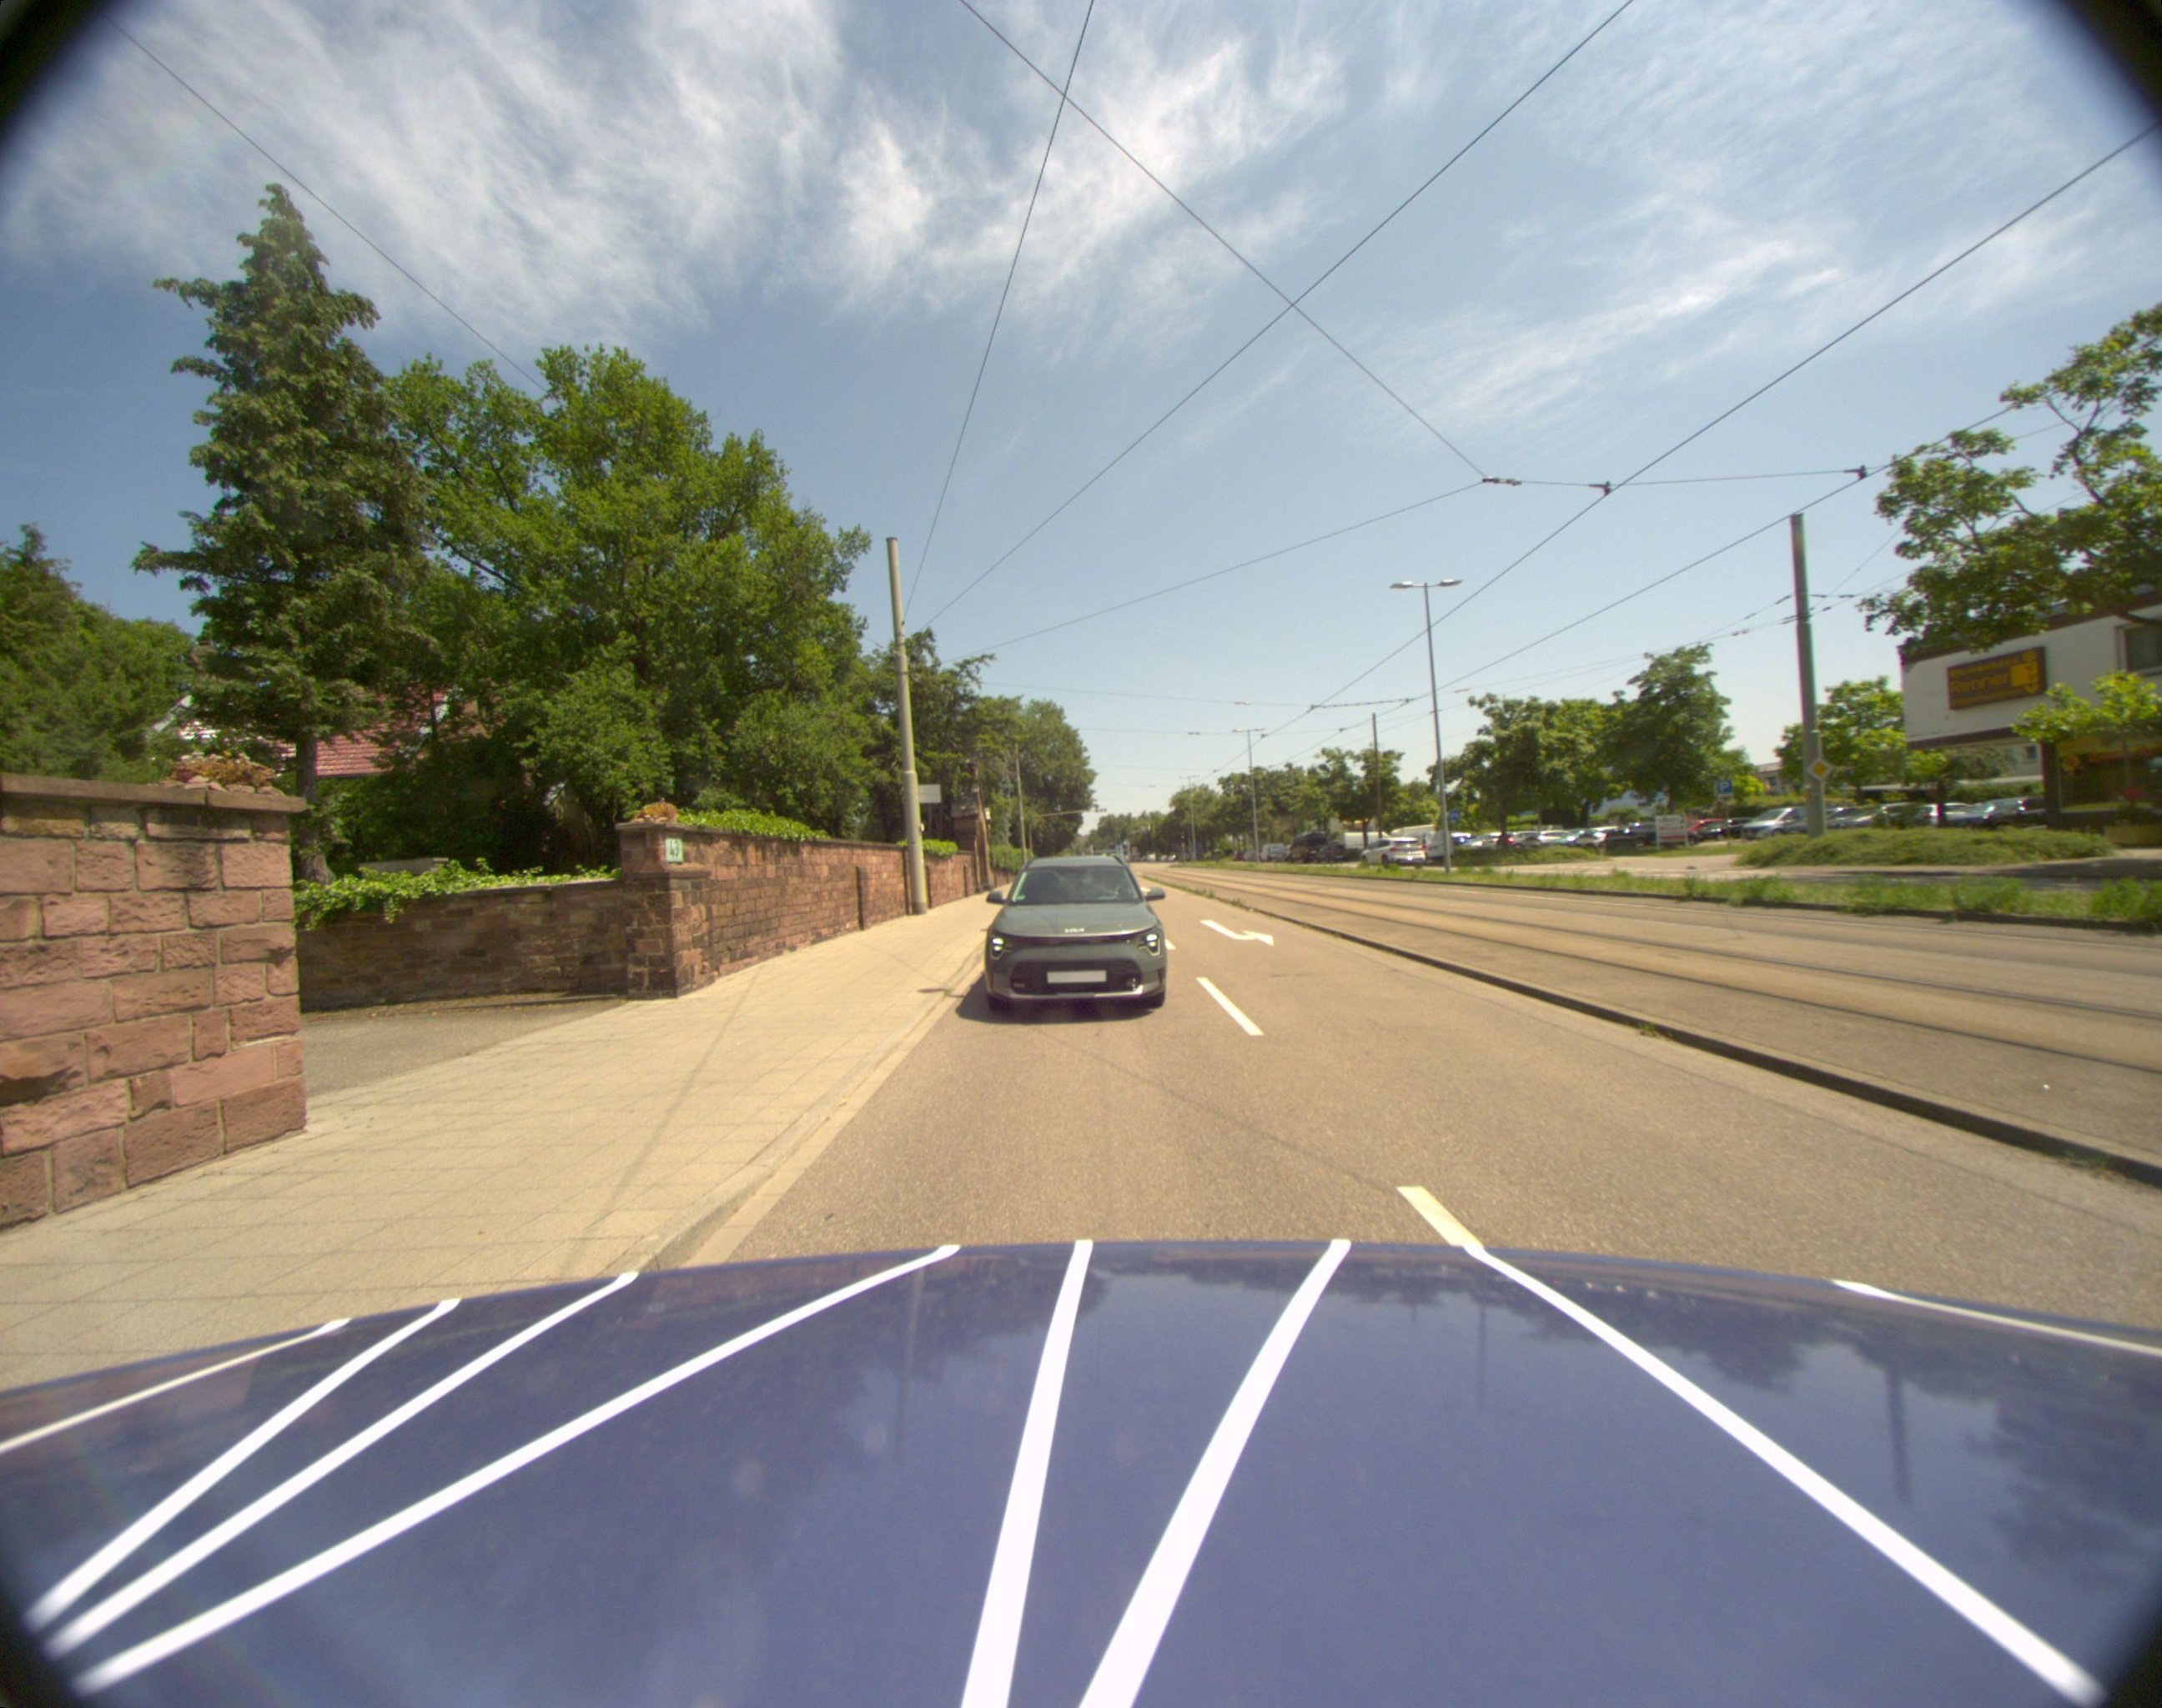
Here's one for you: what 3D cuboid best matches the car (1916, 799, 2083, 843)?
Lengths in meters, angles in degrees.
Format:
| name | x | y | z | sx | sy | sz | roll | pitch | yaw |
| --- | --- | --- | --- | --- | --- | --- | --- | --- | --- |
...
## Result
| name | x | y | z | sx | sy | sz | roll | pitch | yaw |
| --- | --- | --- | --- | --- | --- | --- | --- | --- | --- |
| car | 34.063 | -1.215 | 28.255 | 3.996 | 1.289 | 1.682 | -4 | 0 | 2 |

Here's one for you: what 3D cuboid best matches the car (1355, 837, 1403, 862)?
| name | x | y | z | sx | sy | sz | roll | pitch | yaw |
| --- | --- | --- | --- | --- | --- | --- | --- | --- | --- |
| car | 20.313 | -0.314 | 51.956 | 1.654 | 1.494 | 4.126 | -6 | 0 | 1 |

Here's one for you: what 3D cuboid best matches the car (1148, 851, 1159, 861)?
| name | x | y | z | sx | sy | sz | roll | pitch | yaw |
| --- | --- | --- | --- | --- | --- | --- | --- | --- | --- |
| car | 16.393 | 0.448 | 172.757 | 1.821 | 1.979 | 4.212 | -2 | 1 | -3 |

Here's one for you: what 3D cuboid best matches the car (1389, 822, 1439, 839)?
| name | x | y | z | sx | sy | sz | roll | pitch | yaw |
| --- | --- | --- | --- | --- | --- | --- | --- | --- | --- |
| car | 44.564 | -3.168 | 101.840 | 5.744 | 2.051 | 2.147 | -2 | 1 | -2 |

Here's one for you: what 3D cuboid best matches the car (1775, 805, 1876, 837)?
| name | x | y | z | sx | sy | sz | roll | pitch | yaw |
| --- | --- | --- | --- | --- | --- | --- | --- | --- | --- |
| car | 43.288 | -1.909 | 44.239 | 3.996 | 1.647 | 1.804 | -2 | 1 | 3 |

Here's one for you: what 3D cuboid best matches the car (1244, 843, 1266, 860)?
| name | x | y | z | sx | sy | sz | roll | pitch | yaw |
| --- | --- | --- | --- | --- | --- | --- | --- | --- | --- |
| car | 20.898 | -0.332 | 91.554 | 1.635 | 1.882 | 4.496 | -2 | 1 | 1 |

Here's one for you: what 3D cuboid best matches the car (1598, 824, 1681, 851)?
| name | x | y | z | sx | sy | sz | roll | pitch | yaw |
| --- | --- | --- | --- | --- | --- | --- | --- | --- | --- |
| car | 30.553 | -0.899 | 41.633 | 3.423 | 1.225 | 1.643 | -3 | 0 | -6 |

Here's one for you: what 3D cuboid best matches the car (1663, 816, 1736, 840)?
| name | x | y | z | sx | sy | sz | roll | pitch | yaw |
| --- | --- | --- | --- | --- | --- | --- | --- | --- | --- |
| car | 44.255 | -1.855 | 54.398 | 3.999 | 1.486 | 1.715 | -2 | 1 | -5 |

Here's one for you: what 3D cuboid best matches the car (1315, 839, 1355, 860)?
| name | x | y | z | sx | sy | sz | roll | pitch | yaw |
| --- | --- | --- | --- | --- | --- | --- | --- | --- | --- |
| car | 20.344 | -0.347 | 61.048 | 1.976 | 1.568 | 3.752 | -2 | 1 | 1 |

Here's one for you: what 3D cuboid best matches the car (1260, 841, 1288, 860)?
| name | x | y | z | sx | sy | sz | roll | pitch | yaw |
| --- | --- | --- | --- | --- | --- | --- | --- | --- | --- |
| car | 20.615 | -0.393 | 81.318 | 1.924 | 1.937 | 4.817 | -2 | 1 | 2 |

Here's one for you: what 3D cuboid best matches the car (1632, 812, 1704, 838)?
| name | x | y | z | sx | sy | sz | roll | pitch | yaw |
| --- | --- | --- | --- | --- | --- | --- | --- | --- | --- |
| car | 43.755 | -2.168 | 56.677 | 4.129 | 1.643 | 1.692 | -3 | 0 | -5 |

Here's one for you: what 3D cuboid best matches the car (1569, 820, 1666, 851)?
| name | x | y | z | sx | sy | sz | roll | pitch | yaw |
| --- | --- | --- | --- | --- | --- | --- | --- | --- | --- |
| car | 31.149 | -1.073 | 44.200 | 4.171 | 1.481 | 1.984 | -3 | 0 | -1 |

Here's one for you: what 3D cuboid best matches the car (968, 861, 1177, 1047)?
| name | x | y | z | sx | sy | sz | roll | pitch | yaw |
| --- | --- | --- | --- | --- | --- | --- | --- | --- | --- |
| car | -0.089 | 0.916 | 8.949 | 1.824 | 1.577 | 4.287 | -2 | 0 | 0 |

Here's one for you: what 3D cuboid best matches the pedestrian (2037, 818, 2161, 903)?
| name | x | y | z | sx | sy | sz | roll | pitch | yaw |
| --- | --- | --- | --- | --- | --- | --- | --- | --- | --- |
| pedestrian | 26.704 | 0.132 | 18.422 | 1.998 | 2.002 | 3.999 | -2 | 1 | 0 |

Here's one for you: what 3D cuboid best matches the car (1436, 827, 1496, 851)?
| name | x | y | z | sx | sy | sz | roll | pitch | yaw |
| --- | --- | --- | --- | --- | --- | --- | --- | --- | --- |
| car | 31.647 | -1.255 | 62.495 | 3.998 | 1.707 | 1.797 | -3 | 0 | -3 |

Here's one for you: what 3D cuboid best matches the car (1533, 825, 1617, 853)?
| name | x | y | z | sx | sy | sz | roll | pitch | yaw |
| --- | --- | --- | --- | --- | --- | --- | --- | --- | --- |
| car | 30.430 | -0.919 | 46.885 | 4.040 | 1.481 | 1.912 | -2 | 1 | -6 |

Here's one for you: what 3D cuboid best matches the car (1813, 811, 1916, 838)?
| name | x | y | z | sx | sy | sz | roll | pitch | yaw |
| --- | --- | --- | --- | --- | --- | --- | --- | --- | --- |
| car | 42.778 | -1.603 | 41.541 | 3.724 | 1.277 | 1.764 | -2 | 1 | 3 |

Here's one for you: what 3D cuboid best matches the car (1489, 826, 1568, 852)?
| name | x | y | z | sx | sy | sz | roll | pitch | yaw |
| --- | --- | --- | --- | --- | --- | --- | --- | --- | --- |
| car | 30.449 | -1.015 | 51.754 | 4.163 | 1.481 | 2.023 | -3 | 0 | -6 |

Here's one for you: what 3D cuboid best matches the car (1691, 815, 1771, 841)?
| name | x | y | z | sx | sy | sz | roll | pitch | yaw |
| --- | --- | --- | --- | --- | --- | --- | --- | --- | --- |
| car | 43.948 | -1.729 | 51.400 | 3.997 | 1.576 | 1.684 | -2 | 1 | -1 |

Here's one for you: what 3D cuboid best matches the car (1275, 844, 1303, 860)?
| name | x | y | z | sx | sy | sz | roll | pitch | yaw |
| --- | --- | --- | --- | --- | --- | --- | --- | --- | --- |
| car | 20.631 | -0.225 | 75.467 | 1.767 | 1.456 | 3.608 | -2 | 1 | 2 |

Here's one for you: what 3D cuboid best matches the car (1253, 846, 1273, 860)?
| name | x | y | z | sx | sy | sz | roll | pitch | yaw |
| --- | --- | --- | --- | --- | --- | --- | --- | --- | --- |
| car | 20.736 | -0.118 | 86.721 | 1.429 | 1.470 | 3.262 | -2 | 1 | 1 |

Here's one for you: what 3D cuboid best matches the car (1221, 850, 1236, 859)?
| name | x | y | z | sx | sy | sz | roll | pitch | yaw |
| --- | --- | --- | --- | --- | --- | --- | --- | --- | --- |
| car | 21.387 | 0.043 | 110.140 | 1.582 | 1.152 | 3.423 | -2 | 1 | 3 |

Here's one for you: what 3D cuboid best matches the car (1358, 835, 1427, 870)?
| name | x | y | z | sx | sy | sz | roll | pitch | yaw |
| --- | --- | --- | --- | --- | --- | --- | --- | --- | --- |
| car | 15.830 | -0.094 | 38.823 | 1.728 | 1.601 | 4.570 | -2 | 1 | 2 |

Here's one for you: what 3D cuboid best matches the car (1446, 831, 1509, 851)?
| name | x | y | z | sx | sy | sz | roll | pitch | yaw |
| --- | --- | --- | --- | --- | --- | --- | --- | --- | --- |
| car | 31.198 | -1.006 | 59.841 | 3.998 | 1.398 | 1.797 | -2 | 0 | -3 |

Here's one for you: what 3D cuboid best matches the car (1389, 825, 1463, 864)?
| name | x | y | z | sx | sy | sz | roll | pitch | yaw |
| --- | --- | --- | --- | --- | --- | --- | --- | --- | --- |
| car | 20.326 | -0.556 | 44.996 | 1.880 | 1.999 | 5.344 | -6 | 0 | 1 |

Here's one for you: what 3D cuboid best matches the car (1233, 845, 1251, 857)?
| name | x | y | z | sx | sy | sz | roll | pitch | yaw |
| --- | --- | --- | --- | --- | --- | --- | --- | --- | --- |
| car | 20.739 | -0.420 | 98.002 | 1.582 | 1.471 | 3.423 | -2 | 1 | 3 |

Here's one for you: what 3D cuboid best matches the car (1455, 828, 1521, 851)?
| name | x | y | z | sx | sy | sz | roll | pitch | yaw |
| --- | --- | --- | --- | --- | --- | --- | --- | --- | --- |
| car | 30.538 | -1.060 | 57.078 | 3.999 | 1.479 | 1.866 | -3 | 0 | -6 |

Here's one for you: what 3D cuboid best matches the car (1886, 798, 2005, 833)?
| name | x | y | z | sx | sy | sz | roll | pitch | yaw |
| --- | --- | --- | --- | --- | --- | --- | --- | --- | --- |
| car | 43.921 | -1.940 | 38.676 | 3.996 | 1.511 | 1.661 | -2 | 1 | 3 |

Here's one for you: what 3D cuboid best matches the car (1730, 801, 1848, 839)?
| name | x | y | z | sx | sy | sz | roll | pitch | yaw |
| --- | --- | --- | --- | --- | --- | --- | --- | --- | --- |
| car | 43.379 | -2.063 | 46.660 | 5.120 | 2.058 | 2.226 | -2 | 1 | 1 |

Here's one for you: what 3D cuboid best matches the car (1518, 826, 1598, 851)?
| name | x | y | z | sx | sy | sz | roll | pitch | yaw |
| --- | --- | --- | --- | --- | --- | --- | --- | --- | --- |
| car | 30.955 | -0.997 | 49.341 | 4.146 | 1.481 | 1.859 | -2 | 1 | -6 |

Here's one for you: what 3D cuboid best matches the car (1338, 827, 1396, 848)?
| name | x | y | z | sx | sy | sz | roll | pitch | yaw |
| --- | --- | --- | --- | --- | --- | --- | --- | --- | --- |
| car | 30.725 | -1.764 | 81.622 | 5.434 | 1.944 | 2.029 | -2 | 1 | 2 |

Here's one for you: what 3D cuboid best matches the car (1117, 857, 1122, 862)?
| name | x | y | z | sx | sy | sz | roll | pitch | yaw |
| --- | --- | --- | --- | --- | --- | --- | --- | --- | --- |
| car | 12.439 | 1.792 | 245.506 | 1.820 | 1.471 | 3.423 | -2 | 1 | 3 |

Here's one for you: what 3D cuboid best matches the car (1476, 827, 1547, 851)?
| name | x | y | z | sx | sy | sz | roll | pitch | yaw |
| --- | --- | --- | --- | --- | --- | --- | --- | --- | --- |
| car | 30.884 | -1.056 | 54.584 | 4.075 | 1.481 | 1.831 | -3 | 0 | -6 |

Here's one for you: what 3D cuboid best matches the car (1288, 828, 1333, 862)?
| name | x | y | z | sx | sy | sz | roll | pitch | yaw |
| --- | --- | --- | --- | --- | --- | --- | --- | --- | --- |
| car | 20.276 | -0.805 | 67.411 | 2.244 | 2.821 | 5.667 | -2 | 1 | 1 |
